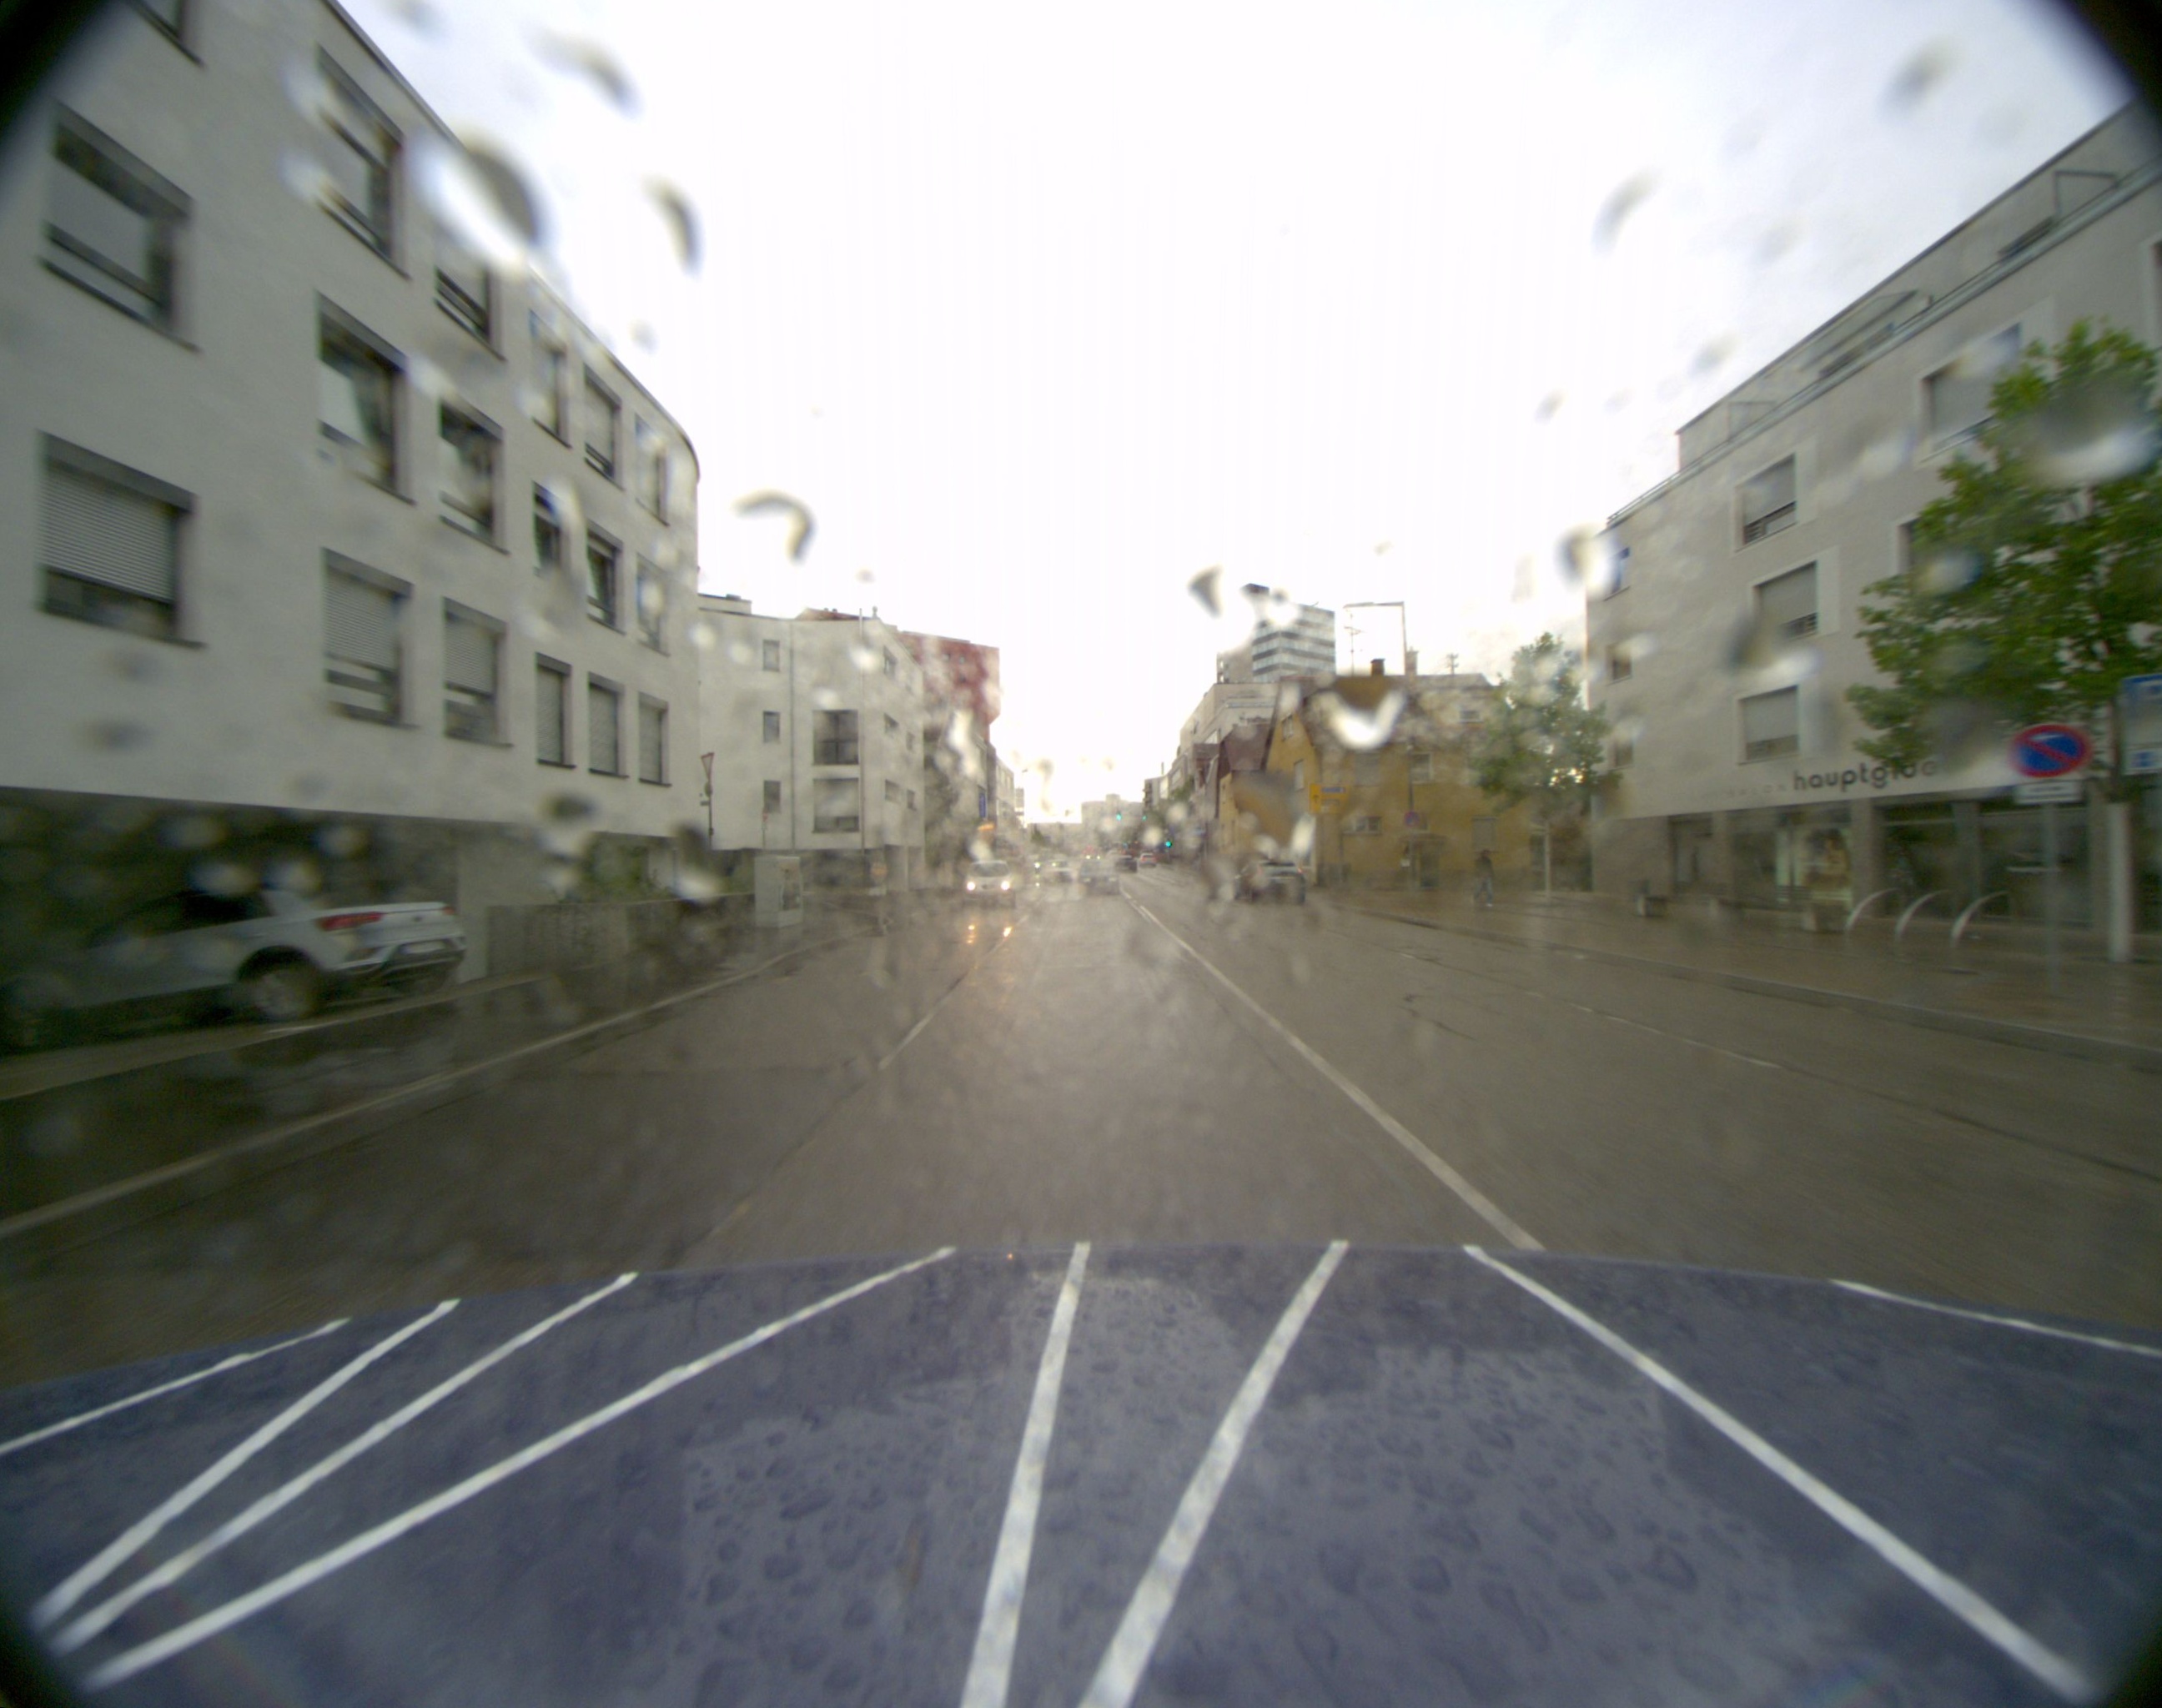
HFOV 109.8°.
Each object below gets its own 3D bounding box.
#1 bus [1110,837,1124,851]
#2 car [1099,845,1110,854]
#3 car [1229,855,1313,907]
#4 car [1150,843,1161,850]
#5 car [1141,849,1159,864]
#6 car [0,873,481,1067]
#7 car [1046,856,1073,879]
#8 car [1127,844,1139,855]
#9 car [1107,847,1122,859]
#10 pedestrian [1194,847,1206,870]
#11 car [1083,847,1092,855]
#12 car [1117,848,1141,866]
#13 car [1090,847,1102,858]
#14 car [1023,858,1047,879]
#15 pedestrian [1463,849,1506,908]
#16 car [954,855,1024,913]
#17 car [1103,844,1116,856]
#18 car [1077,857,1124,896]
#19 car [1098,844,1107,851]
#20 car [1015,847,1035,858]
[{"bbox_3d":[8.268,-2.292,176.124,2.899,3.082,11.996,0,1,1],"label":"bus"},{"bbox_3d":[4.561,-0.915,148.638,2.103,1.702,4.848,0,2,2],"label":"car"},{"bbox_3d":[6.393,0.846,26.013,1.885,1.515,4.183,0,2,1],"label":"car"},{"bbox_3d":[14.796,-1.496,150.543,1.757,1.402,3.729,0,2,1],"label":"car"},{"bbox_3d":[7.525,0.251,83.463,1.653,1.410,4.138,2,2,1],"label":"car"},{"bbox_3d":[-9.557,1.225,8.662,3.801,1.521,1.820,-7,0,0],"label":"car"},{"bbox_3d":[-1.363,0.803,48.593,1.662,1.300,3.993,0,2,-2],"label":"car"},{"bbox_3d":[8.655,-0.755,126.973,2.005,1.608,4.948,0,2,3],"label":"car"},{"bbox_3d":[4.713,-0.177,107.907,1.883,1.600,4.717,0,2,0],"label":"car"},{"bbox_3d":[10.079,0.340,64.374,0.663,1.910,0.946,-3,2,-7],"label":"pedestrian"},{"bbox_3d":[1.312,-0.665,153.533,1.711,1.508,4.391,0,2,3],"label":"car"},{"bbox_3d":[4.162,0.263,66.009,1.772,1.405,4.524,0,2,0],"label":"car"},{"bbox_3d":[2.153,-0.209,107.645,1.719,1.442,4.198,0,2,2],"label":"car"},{"bbox_3d":[-4.102,1.265,68.594,2.059,1.638,4.477,-1,2,-3],"label":"car"},{"bbox_3d":[12.369,0.737,23.331,0.803,1.778,0.881,0,2,-2],"label":"pedestrian"},{"bbox_3d":[-3.112,0.969,26.651,2.017,1.613,4.358,-1,3,-2],"label":"car"},{"bbox_3d":[4.915,-0.680,130.735,1.971,1.927,5.177,0,2,-2],"label":"car"},{"bbox_3d":[0.764,0.904,31.897,1.688,1.373,3.792,-2,2,-2],"label":"car"},{"bbox_3d":[4.560,-1.325,163.359,1.762,1.426,4.380,0,2,4],"label":"car"},{"bbox_3d":[-8.146,-0.249,110.553,1.619,1.454,3.415,-1,2,-29],"label":"car"}]
